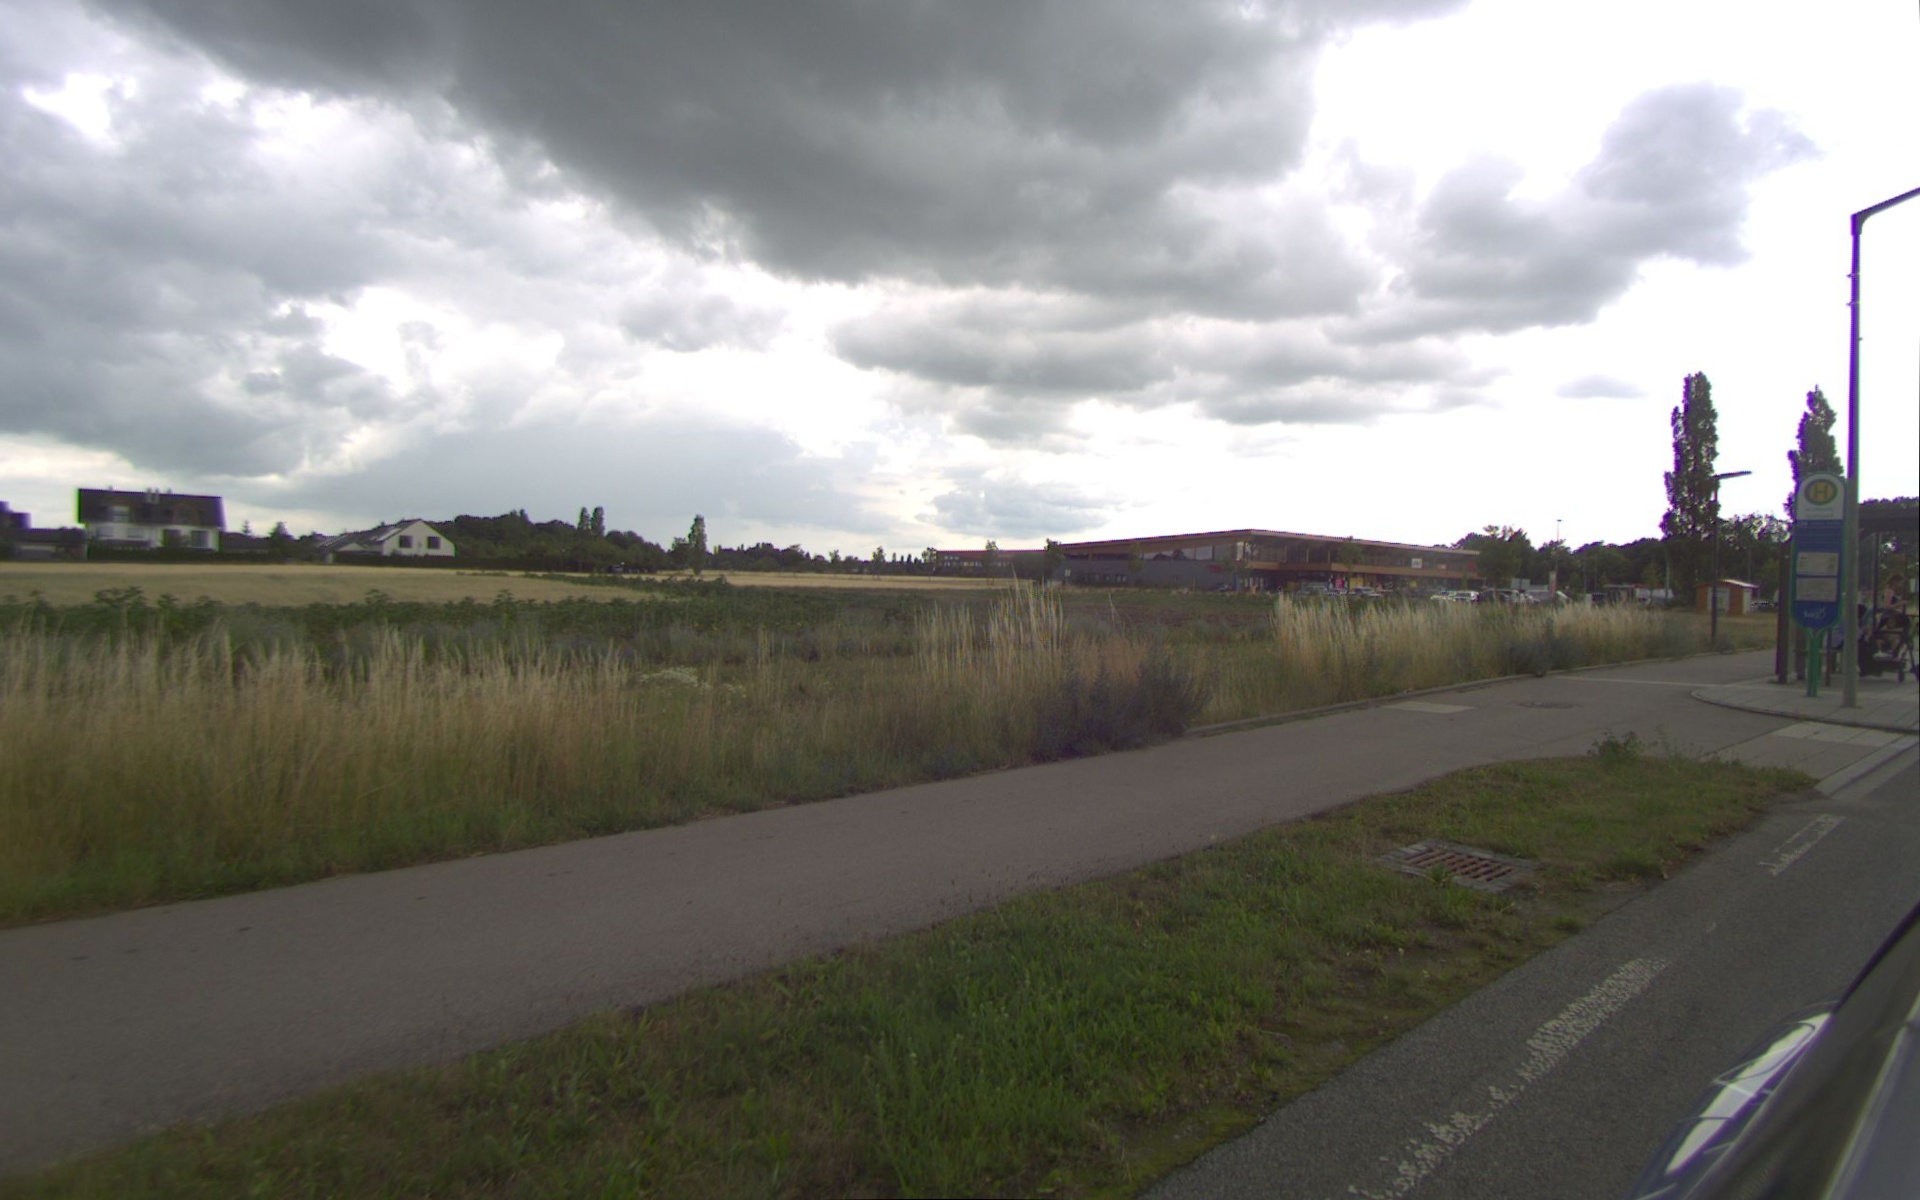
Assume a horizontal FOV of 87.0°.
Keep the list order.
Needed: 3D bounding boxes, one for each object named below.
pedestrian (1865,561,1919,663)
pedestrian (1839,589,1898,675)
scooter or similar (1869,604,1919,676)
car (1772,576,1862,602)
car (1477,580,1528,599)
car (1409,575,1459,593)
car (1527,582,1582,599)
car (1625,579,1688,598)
[{"bbox_3d":[17.232,0.206,18.457,0.762,1.815,0.785,0,0,-19],"label":"pedestrian"},{"bbox_3d":[14.398,0.495,16.051,0.664,1.319,0.497,-1,0,41],"label":"pedestrian"},{"bbox_3d":[15.106,0.614,15.888,1.039,1.075,0.709,0,0,-3],"label":"scooter or similar"},{"bbox_3d":[69.941,-0.859,82.684,5.511,2.039,1.968,0,1,44],"label":"car"},{"bbox_3d":[61.283,-1.163,114.351,4.841,2.039,1.969,0,0,43],"label":"car"},{"bbox_3d":[54.737,-1.800,116.847,4.841,2.039,1.969,0,0,43],"label":"car"},{"bbox_3d":[72.730,-1.108,123.882,5.511,2.039,1.968,0,1,44],"label":"car"},{"bbox_3d":[76.702,-1.283,111.542,5.511,2.039,1.968,0,1,44],"label":"car"}]
